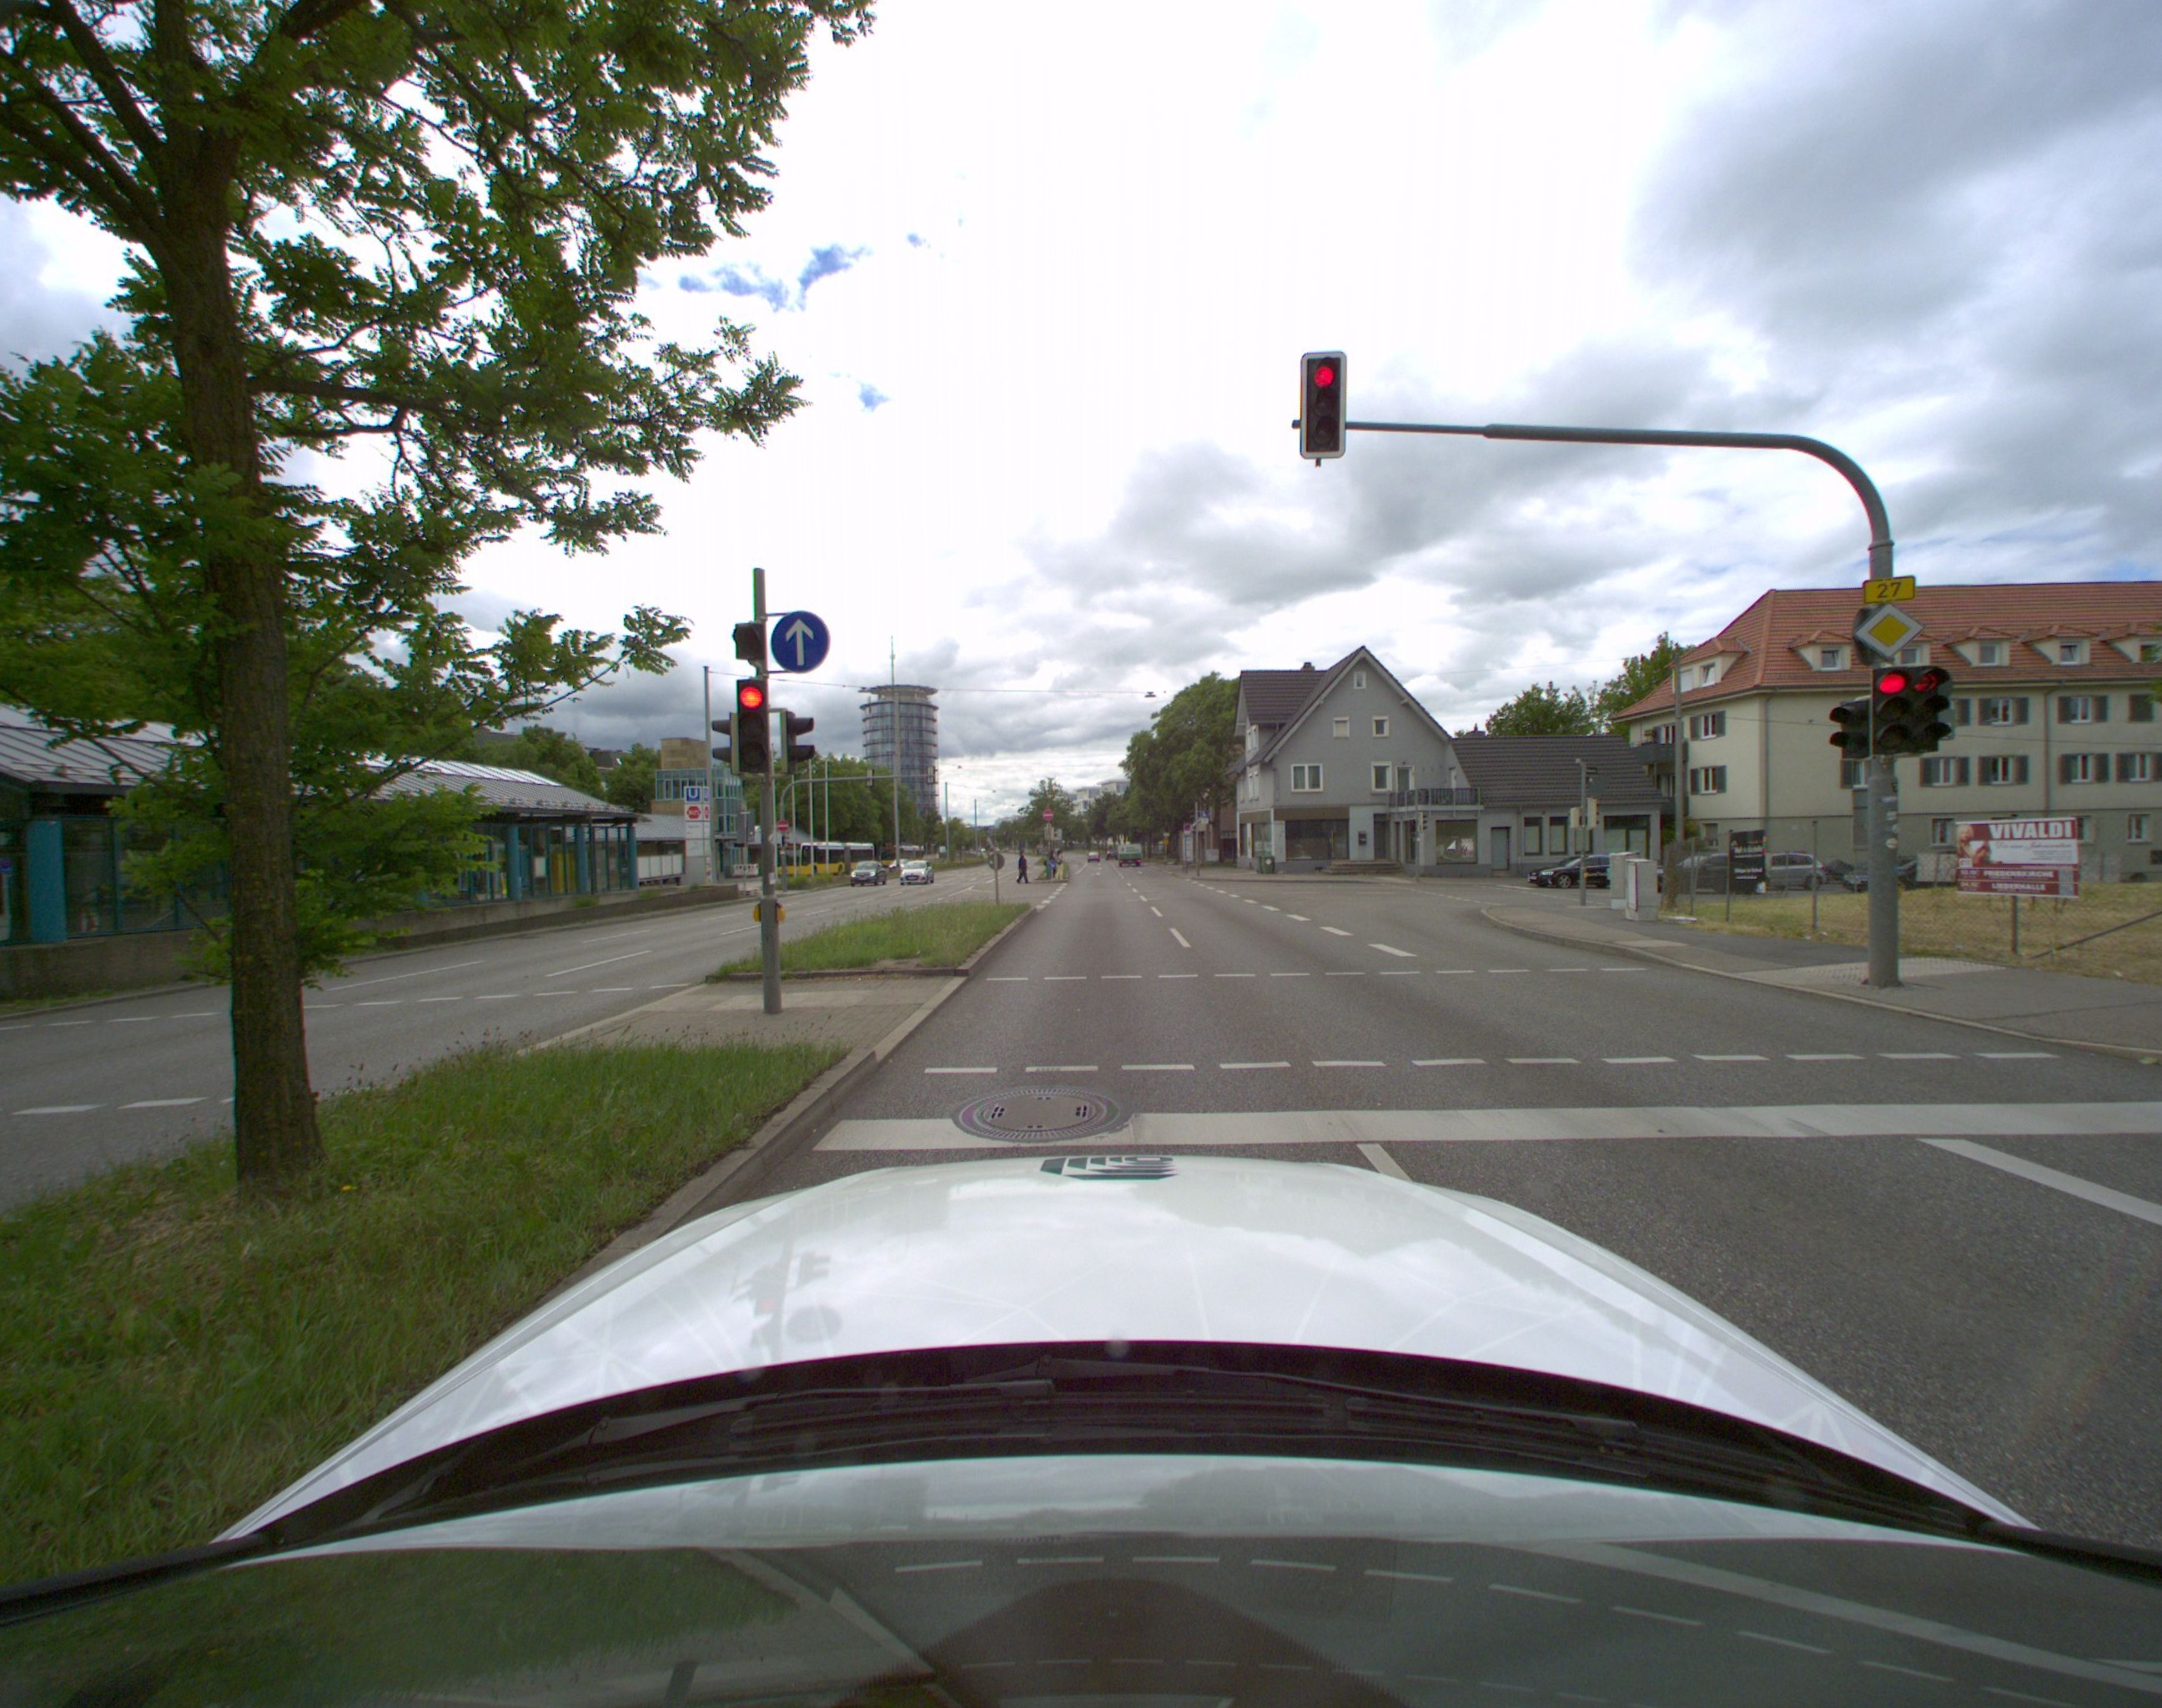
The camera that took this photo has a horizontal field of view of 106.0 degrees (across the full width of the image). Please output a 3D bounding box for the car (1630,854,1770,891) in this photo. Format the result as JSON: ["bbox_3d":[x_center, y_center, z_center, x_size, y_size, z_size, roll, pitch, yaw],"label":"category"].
[{"bbox_3d":[23.785,0.699,31.388,4.075,1.371,1.800,0,0,0],"label":"car"}]

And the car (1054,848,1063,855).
[{"bbox_3d":[-4.864,-0.483,176.544,1.988,1.519,3.997,-2,0,-2],"label":"car"}]

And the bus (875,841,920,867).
[{"bbox_3d":[-25.709,-0.015,114.943,2.817,3.430,10.750,-2,0,6],"label":"bus"}]

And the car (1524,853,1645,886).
[{"bbox_3d":[21.390,0.634,34.724,4.075,1.371,1.800,0,0,0],"label":"car"}]

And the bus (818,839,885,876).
[{"bbox_3d":[-23.288,0.344,83.426,2.817,3.430,10.750,-2,0,6],"label":"bus"}]

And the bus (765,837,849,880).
[{"bbox_3d":[-24.327,0.365,73.136,2.817,3.430,10.750,-2,0,6],"label":"bus"}]

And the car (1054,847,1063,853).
[{"bbox_3d":[-6.185,-1.124,223.677,1.992,1.552,3.990,-2,0,-7],"label":"car"}]

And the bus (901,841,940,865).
[{"bbox_3d":[-24.631,-0.137,125.666,2.817,3.430,10.750,-2,0,6],"label":"bus"}]

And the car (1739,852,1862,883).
[{"bbox_3d":[32.849,0.613,37.255,4.075,1.371,1.800,0,0,0],"label":"car"}]

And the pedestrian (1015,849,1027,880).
[{"bbox_3d":[-3.344,0.600,45.613,0.611,1.716,0.545,-2,0,-5],"label":"pedestrian"}]

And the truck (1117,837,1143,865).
[{"bbox_3d":[4.794,-0.358,80.622,2.460,2.611,6.554,0,1,3],"label":"truck"}]

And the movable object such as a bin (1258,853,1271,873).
[{"bbox_3d":[10.015,0.487,44.447,0.613,1.043,0.590,0,0,3],"label":"movable object such as a bin"}]

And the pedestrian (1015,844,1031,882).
[{"bbox_3d":[-3.137,0.509,44.013,0.829,2.013,0.545,-2,0,-6],"label":"pedestrian"}]

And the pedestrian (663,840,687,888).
[{"bbox_3d":[-17.377,0.412,34.871,0.680,2.013,0.645,-2,0,-3],"label":"pedestrian"}]

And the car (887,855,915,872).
[{"bbox_3d":[-19.270,0.976,87.304,1.798,1.662,4.003,-2,0,3],"label":"car"}]

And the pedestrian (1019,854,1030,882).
[{"bbox_3d":[-3.120,0.766,44.990,0.543,1.496,0.485,-2,0,-10],"label":"pedestrian"}]

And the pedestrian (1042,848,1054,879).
[{"bbox_3d":[-1.869,0.516,45.547,0.582,1.716,0.545,-2,0,-5],"label":"pedestrian"}]

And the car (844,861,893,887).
[{"bbox_3d":[-13.456,1.237,51.875,1.987,1.486,4.000,-2,0,0],"label":"car"}]

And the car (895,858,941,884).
[{"bbox_3d":[-10.241,1.053,51.357,1.987,1.486,4.000,-2,0,0],"label":"car"}]

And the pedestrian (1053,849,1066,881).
[{"bbox_3d":[-1.158,0.575,44.150,0.652,1.716,0.451,-2,0,-6],"label":"pedestrian"}]

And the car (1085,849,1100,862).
[{"bbox_3d":[1.609,0.175,113.279,1.986,1.830,4.001,-1,0,1],"label":"car"}]

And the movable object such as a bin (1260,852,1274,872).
[{"bbox_3d":[9.977,0.447,43.709,0.602,1.059,0.590,0,0,3],"label":"movable object such as a bin"}]

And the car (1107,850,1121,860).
[{"bbox_3d":[4.963,0.135,122.956,1.986,1.552,4.001,0,0,1],"label":"car"}]

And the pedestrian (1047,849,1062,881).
[{"bbox_3d":[-1.480,0.580,44.790,0.744,1.716,0.582,-2,0,-6],"label":"pedestrian"}]

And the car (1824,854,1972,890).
[{"bbox_3d":[32.097,0.683,32.069,4.075,1.371,1.800,0,0,0],"label":"car"}]
